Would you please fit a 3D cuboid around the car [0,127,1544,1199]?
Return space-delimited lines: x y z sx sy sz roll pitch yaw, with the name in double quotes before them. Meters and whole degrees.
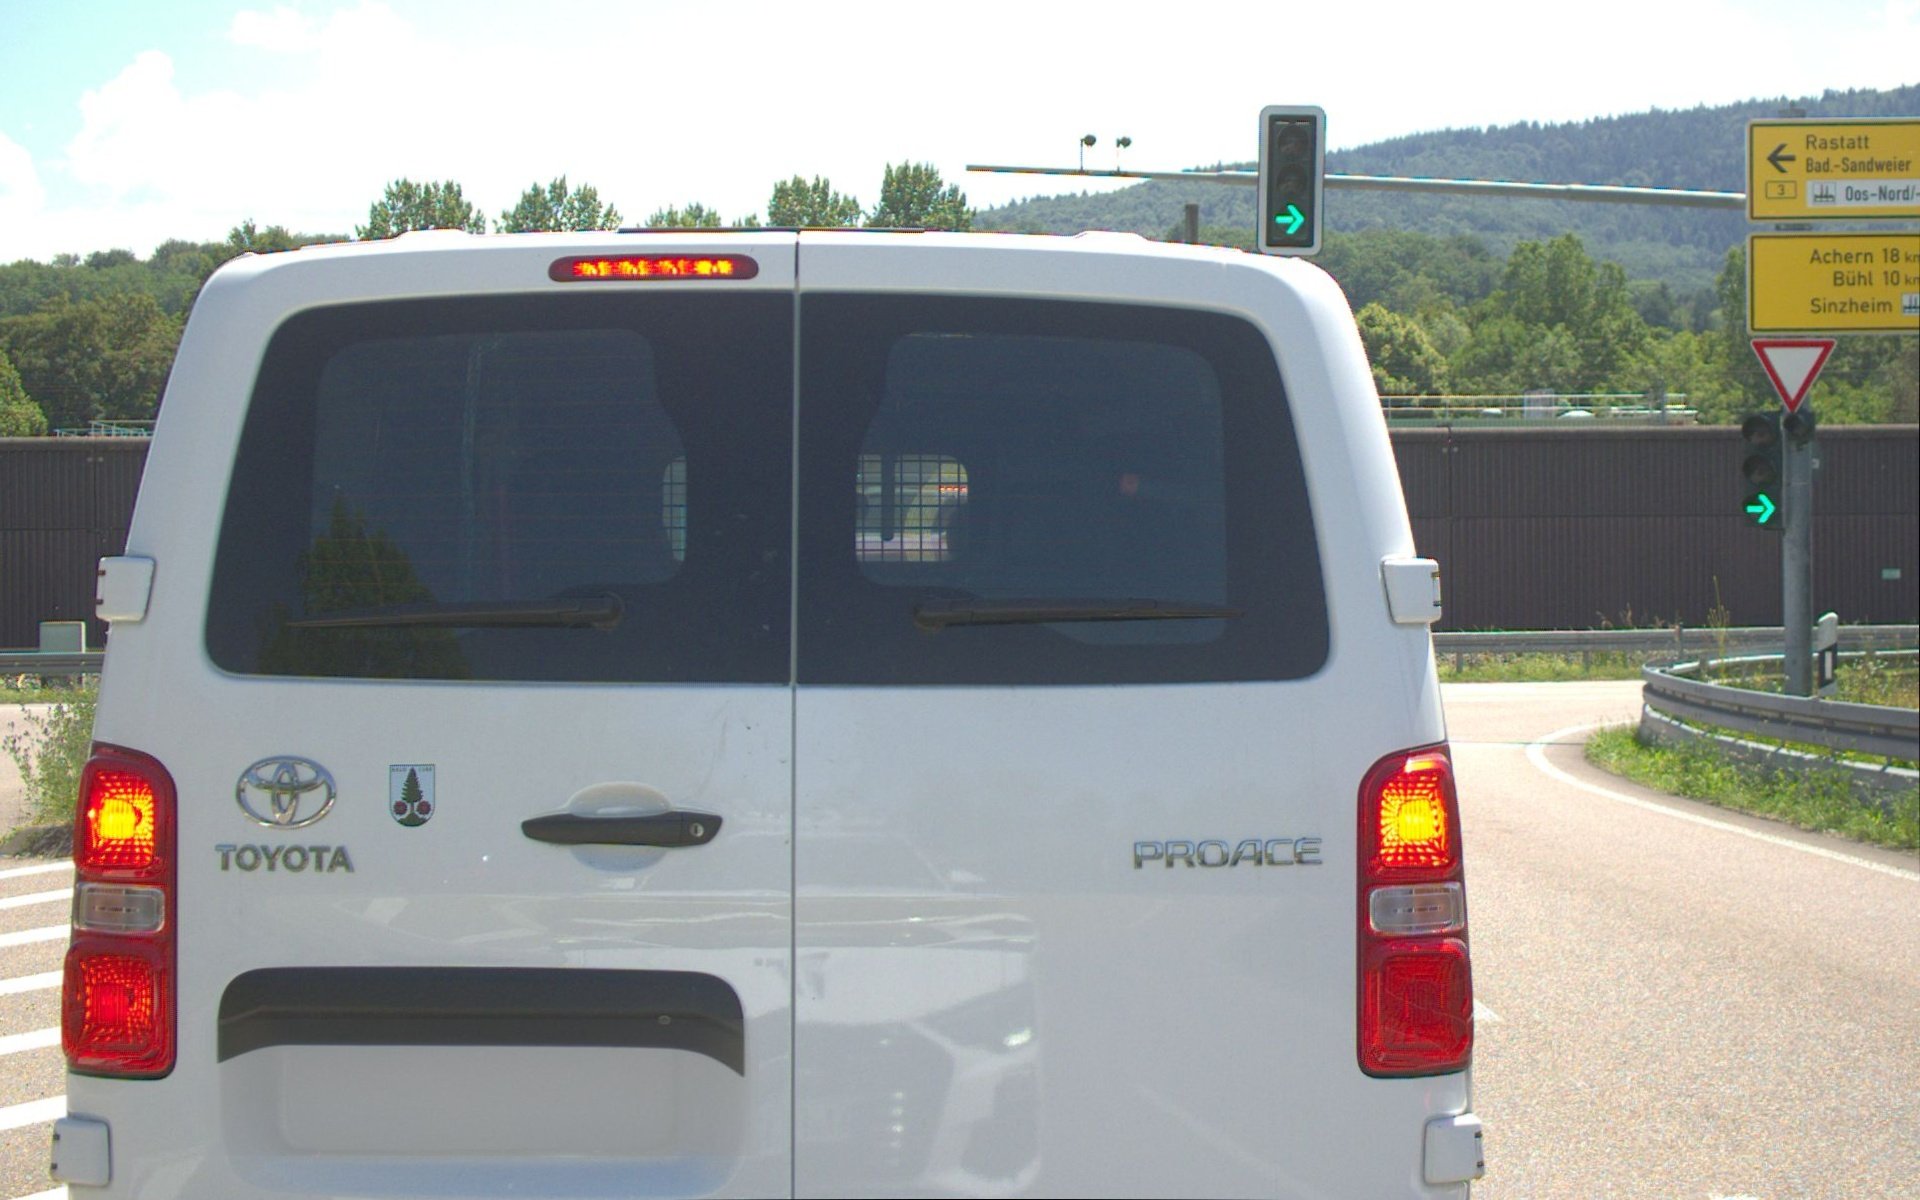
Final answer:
"car" -0.260 0.443 5.966 1.814 2.011 4.000 0 1 -1
